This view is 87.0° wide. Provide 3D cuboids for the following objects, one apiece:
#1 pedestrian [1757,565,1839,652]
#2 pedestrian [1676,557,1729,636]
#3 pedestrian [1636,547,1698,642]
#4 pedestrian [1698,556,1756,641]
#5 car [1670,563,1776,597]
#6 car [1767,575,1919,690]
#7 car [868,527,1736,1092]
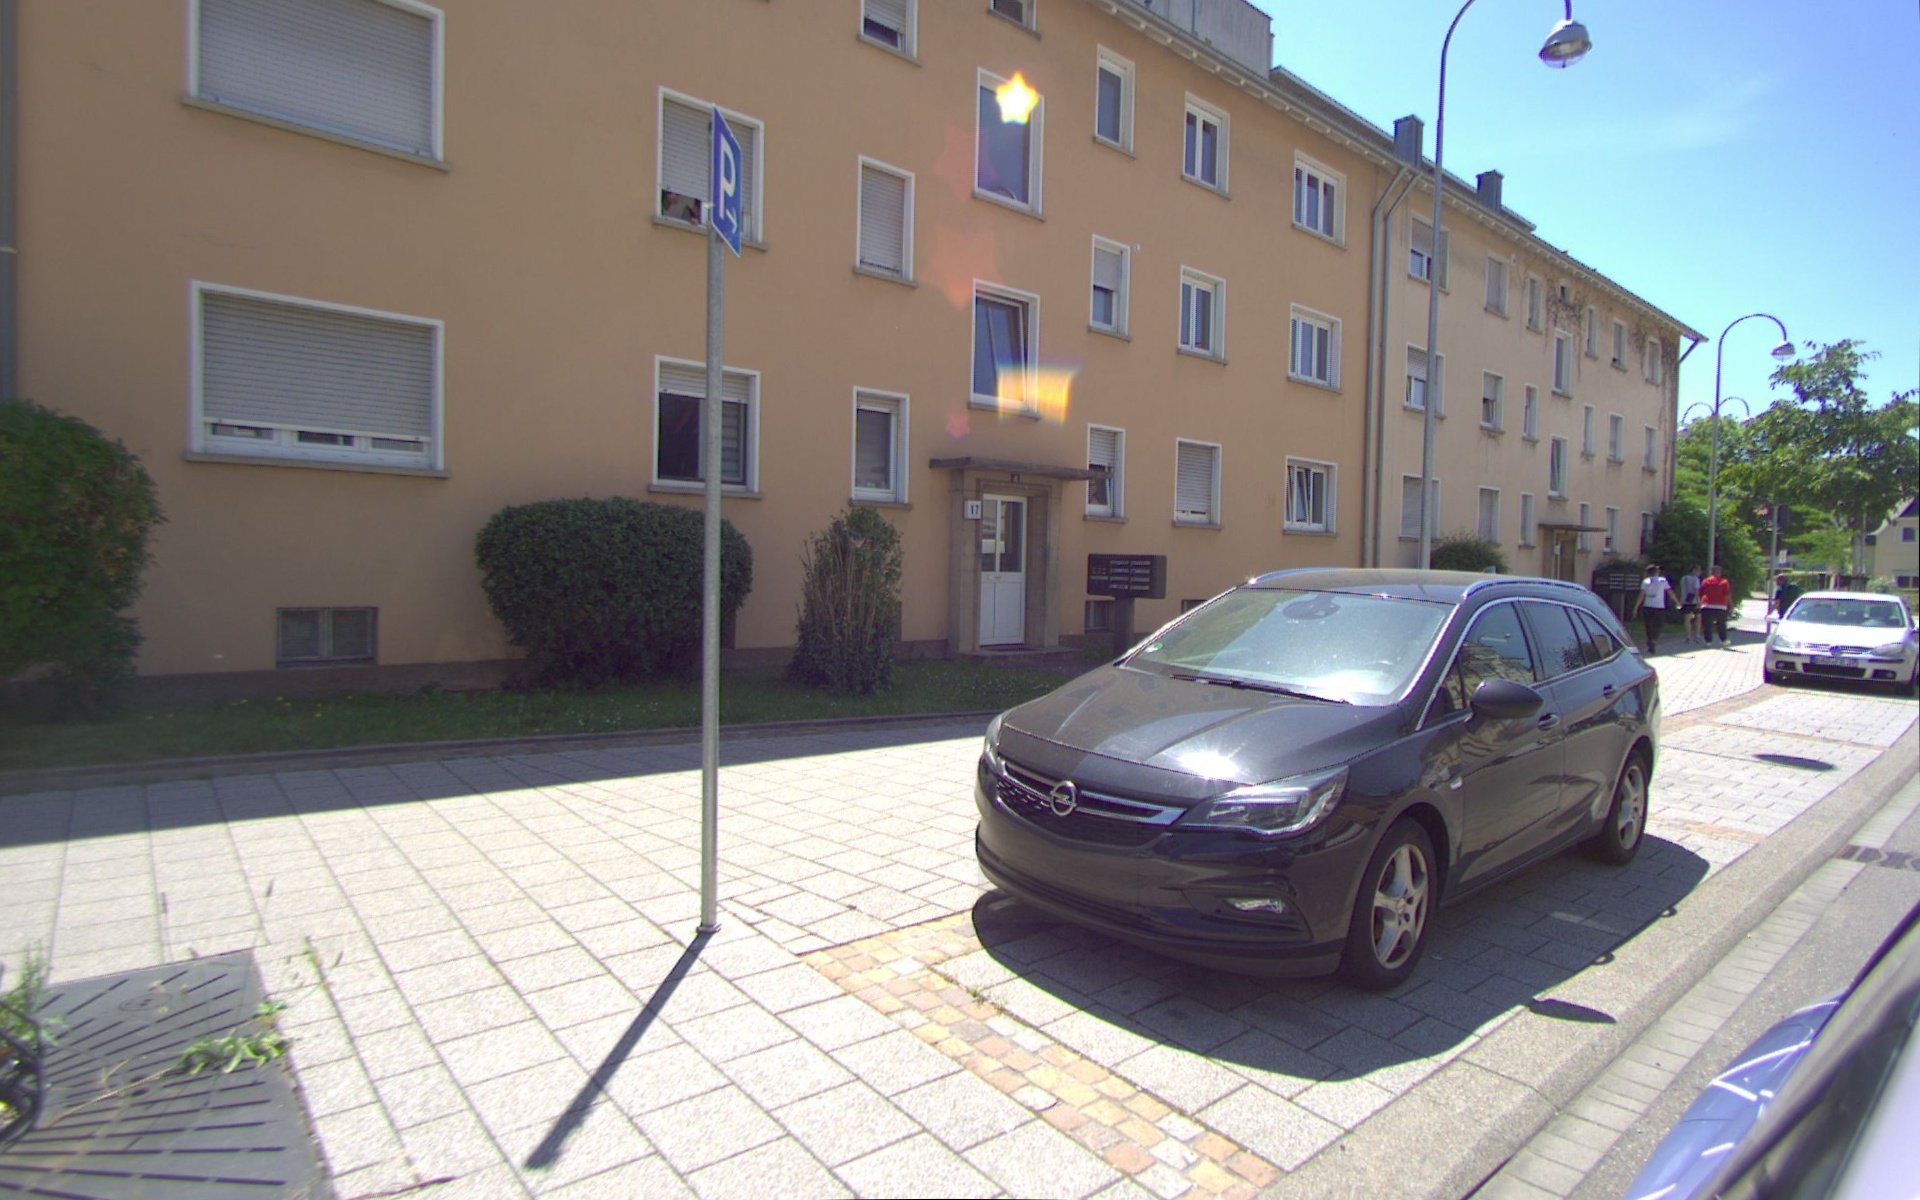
[{"bbox_3d":[18.360,0.154,22.181,1.172,1.753,1.172,6,5,45],"label":"pedestrian"},{"bbox_3d":[17.439,-0.099,23.764,0.992,1.800,0.794,0,2,-44],"label":"pedestrian"},{"bbox_3d":[14.396,-0.129,20.595,0.968,1.876,0.821,0,2,-44],"label":"pedestrian"},{"bbox_3d":[17.148,-0.050,22.619,0.989,1.833,0.789,0,4,-44],"label":"pedestrian"},{"bbox_3d":[41.262,-1.084,54.774,4.472,1.758,2.004,0,2,-10],"label":"car"},{"bbox_3d":[14.358,0.405,16.108,4.434,1.494,1.815,-2,4,-45],"label":"car"},{"bbox_3d":[2.111,0.514,5.092,4.975,1.522,1.838,0,4,-41],"label":"car"}]
